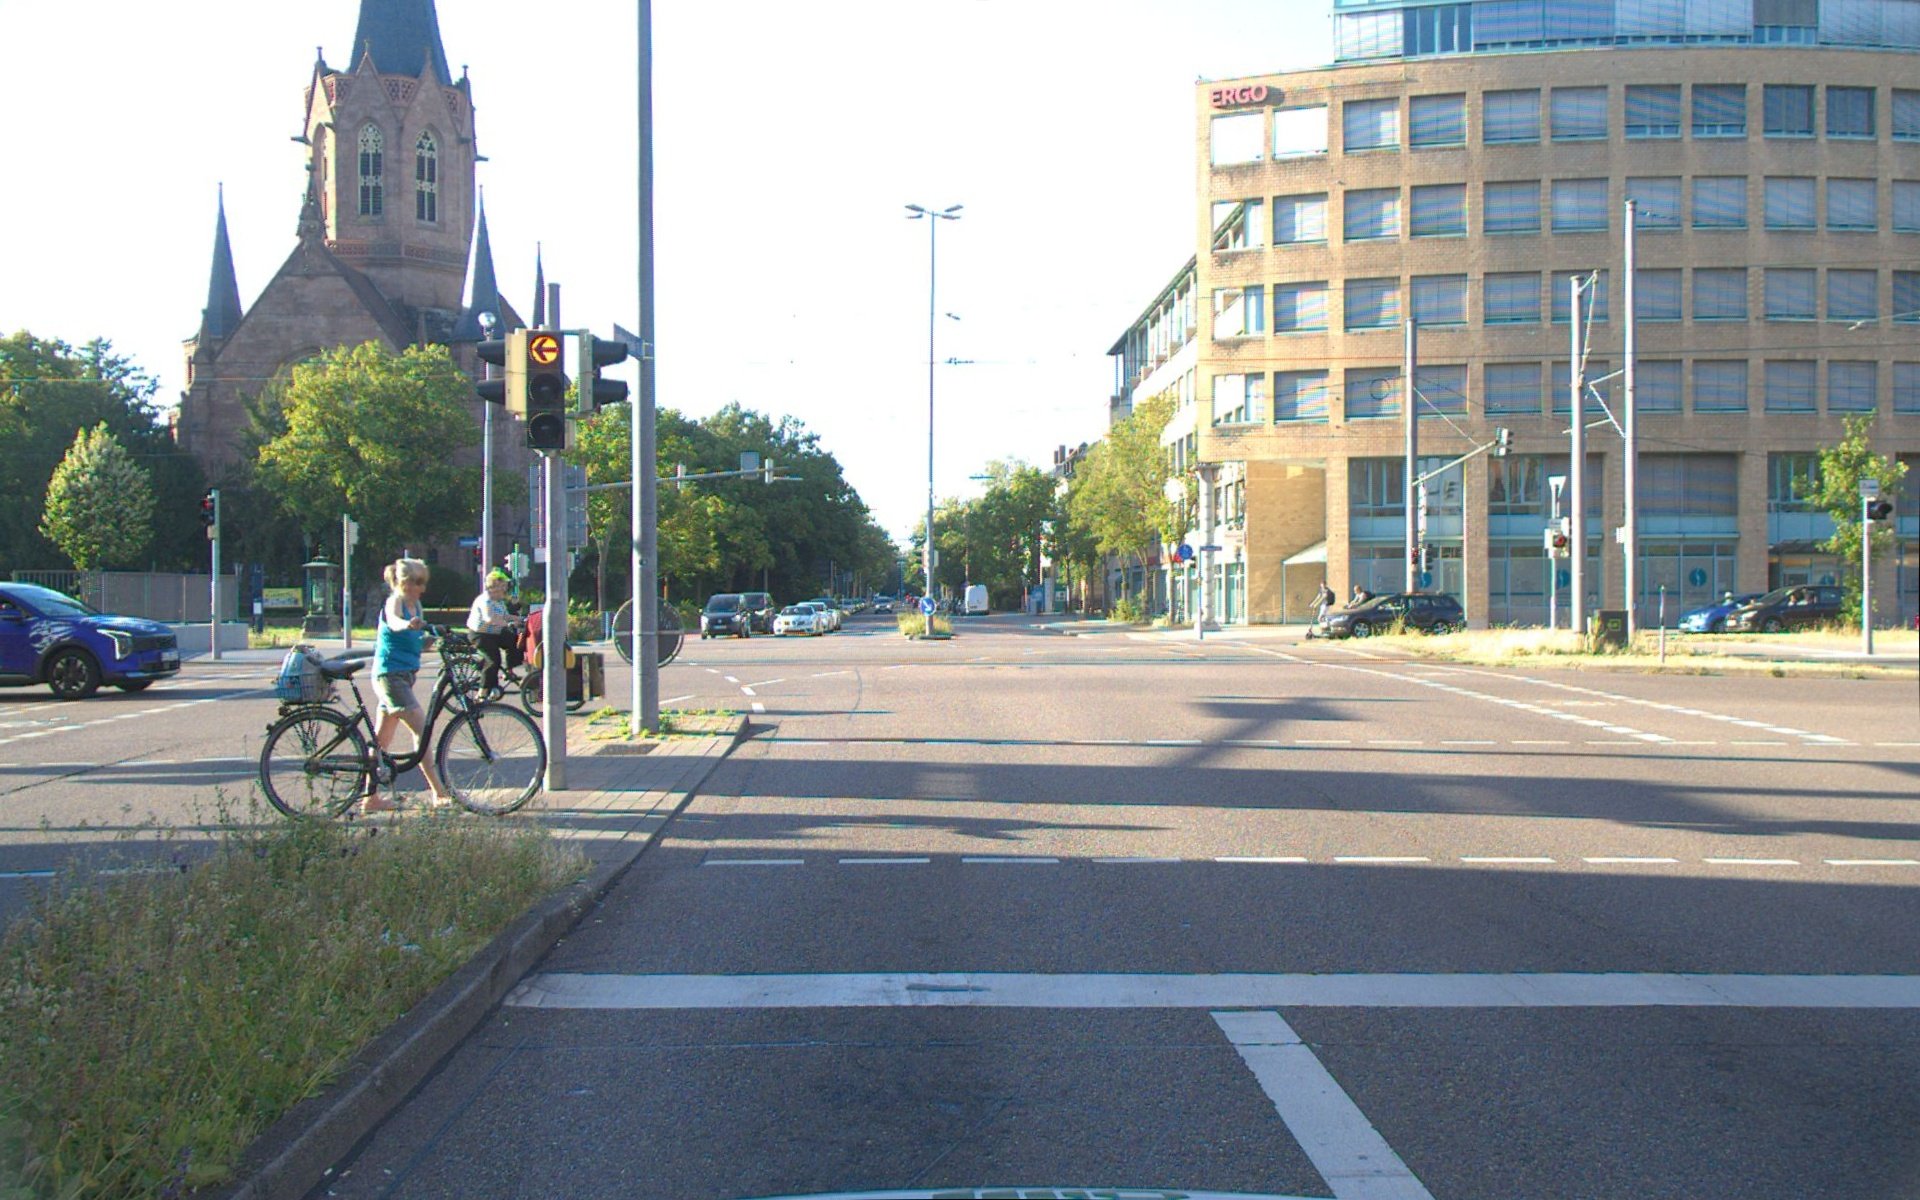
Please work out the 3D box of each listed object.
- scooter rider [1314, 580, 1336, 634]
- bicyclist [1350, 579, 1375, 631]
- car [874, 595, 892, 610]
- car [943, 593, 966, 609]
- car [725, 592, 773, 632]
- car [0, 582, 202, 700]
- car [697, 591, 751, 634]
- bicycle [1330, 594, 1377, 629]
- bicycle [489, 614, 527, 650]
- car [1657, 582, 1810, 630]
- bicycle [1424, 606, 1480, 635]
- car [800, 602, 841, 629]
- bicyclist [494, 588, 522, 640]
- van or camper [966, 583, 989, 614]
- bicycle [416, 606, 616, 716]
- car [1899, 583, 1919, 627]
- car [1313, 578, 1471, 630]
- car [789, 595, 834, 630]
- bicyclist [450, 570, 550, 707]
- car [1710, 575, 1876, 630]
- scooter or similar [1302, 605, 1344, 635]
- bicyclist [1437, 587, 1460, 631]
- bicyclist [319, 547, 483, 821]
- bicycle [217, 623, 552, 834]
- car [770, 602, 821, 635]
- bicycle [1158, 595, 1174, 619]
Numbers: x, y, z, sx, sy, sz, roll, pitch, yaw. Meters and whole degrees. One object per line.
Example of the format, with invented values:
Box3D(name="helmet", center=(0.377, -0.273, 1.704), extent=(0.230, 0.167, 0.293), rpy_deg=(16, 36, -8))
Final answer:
Box3D(name="scooter rider", center=(12.656, 0.243, 57.337), extent=(0.666, 1.846, 0.475), rpy_deg=(0, 0, 5))
Box3D(name="bicyclist", center=(13.753, 0.158, 56.509), extent=(0.774, 1.766, 0.475), rpy_deg=(0, 0, 5))
Box3D(name="car", center=(-7.715, 0.229, 166.189), extent=(1.744, 1.474, 3.999), rpy_deg=(0, 1, -1))
Box3D(name="car", center=(-0.567, 0.055, 173.008), extent=(1.956, 1.620, 3.994), rpy_deg=(0, 0, -7))
Box3D(name="car", center=(-9.623, 0.527, 75.665), extent=(1.744, 1.734, 3.999), rpy_deg=(0, 1, -1))
Box3D(name="car", center=(-13.363, 0.566, 23.497), extent=(4.313, 1.601, 1.836), rpy_deg=(0, 0, -1))
Box3D(name="car", center=(-9.697, 0.486, 68.260), extent=(1.744, 1.676, 3.999), rpy_deg=(0, 1, -1))
Box3D(name="bicycle", center=(13.434, 0.383, 56.516), extent=(1.487, 1.193, 0.475), rpy_deg=(0, 0, 5))
Box3D(name="bicycle", center=(-15.145, 1.054, 55.427), extent=(0.641, 1.159, 1.657), rpy_deg=(-1, 0, -38))
Box3D(name="car", center=(25.550, 0.178, 54.723), extent=(4.146, 1.528, 1.998), rpy_deg=(0, 0, -5))
Box3D(name="bicycle", center=(16.922, 0.699, 56.916), extent=(1.783, 1.001, 0.534), rpy_deg=(0, 0, 2))
Box3D(name="car", center=(-6.881, 0.733, 81.852), extent=(1.744, 1.257, 3.999), rpy_deg=(0, 1, -1))
Box3D(name="bicyclist", center=(-15.140, 0.462, 55.400), extent=(0.634, 1.724, 0.771), rpy_deg=(-1, 0, -38))
Box3D(name="van or camper", center=(1.555, -0.136, 147.841), extent=(1.953, 2.686, 5.350), rpy_deg=(0, 0, 0))
Box3D(name="bicycle", center=(-5.051, 0.679, 18.961), extent=(2.002, 1.188, 1.161), rpy_deg=(-1, 0, -4))
Box3D(name="car", center=(31.689, 0.129, 51.855), extent=(3.535, 1.366, 1.721), rpy_deg=(0, 0, -2))
Box3D(name="car", center=(13.918, 0.111, 53.428), extent=(4.556, 1.626, 1.998), rpy_deg=(0, 0, -5))
Box3D(name="car", center=(-6.644, 0.554, 74.400), extent=(1.744, 1.490, 3.999), rpy_deg=(0, 1, -1))
Box3D(name="bicyclist", center=(-5.253, 0.418, 18.937), extent=(0.862, 1.513, 1.161), rpy_deg=(-1, 0, -4))
Box3D(name="car", center=(25.771, 0.070, 51.257), extent=(4.142, 1.642, 2.000), rpy_deg=(0, 0, -1))
Box3D(name="scooter or similar", center=(12.585, 0.693, 57.344), extent=(1.371, 1.019, 0.475), rpy_deg=(0, 0, 5))
Box3D(name="bicyclist", center=(16.811, 0.296, 56.946), extent=(0.652, 1.494, 0.534), rpy_deg=(0, 0, 2))
Box3D(name="bicyclist", center=(-3.593, 0.515, 10.703), extent=(0.767, 1.689, 0.900), rpy_deg=(-1, 0, -3))
Box3D(name="bicycle", center=(-3.489, 0.762, 10.153), extent=(1.791, 1.209, 0.733), rpy_deg=(-1, 0, -3))
Box3D(name="car", center=(-6.710, 0.722, 67.822), extent=(1.744, 1.257, 3.999), rpy_deg=(0, 1, -1))
Box3D(name="bicycle", center=(10.706, 0.357, 86.113), extent=(0.757, 1.216, 2.467), rpy_deg=(0, 0, 6))
